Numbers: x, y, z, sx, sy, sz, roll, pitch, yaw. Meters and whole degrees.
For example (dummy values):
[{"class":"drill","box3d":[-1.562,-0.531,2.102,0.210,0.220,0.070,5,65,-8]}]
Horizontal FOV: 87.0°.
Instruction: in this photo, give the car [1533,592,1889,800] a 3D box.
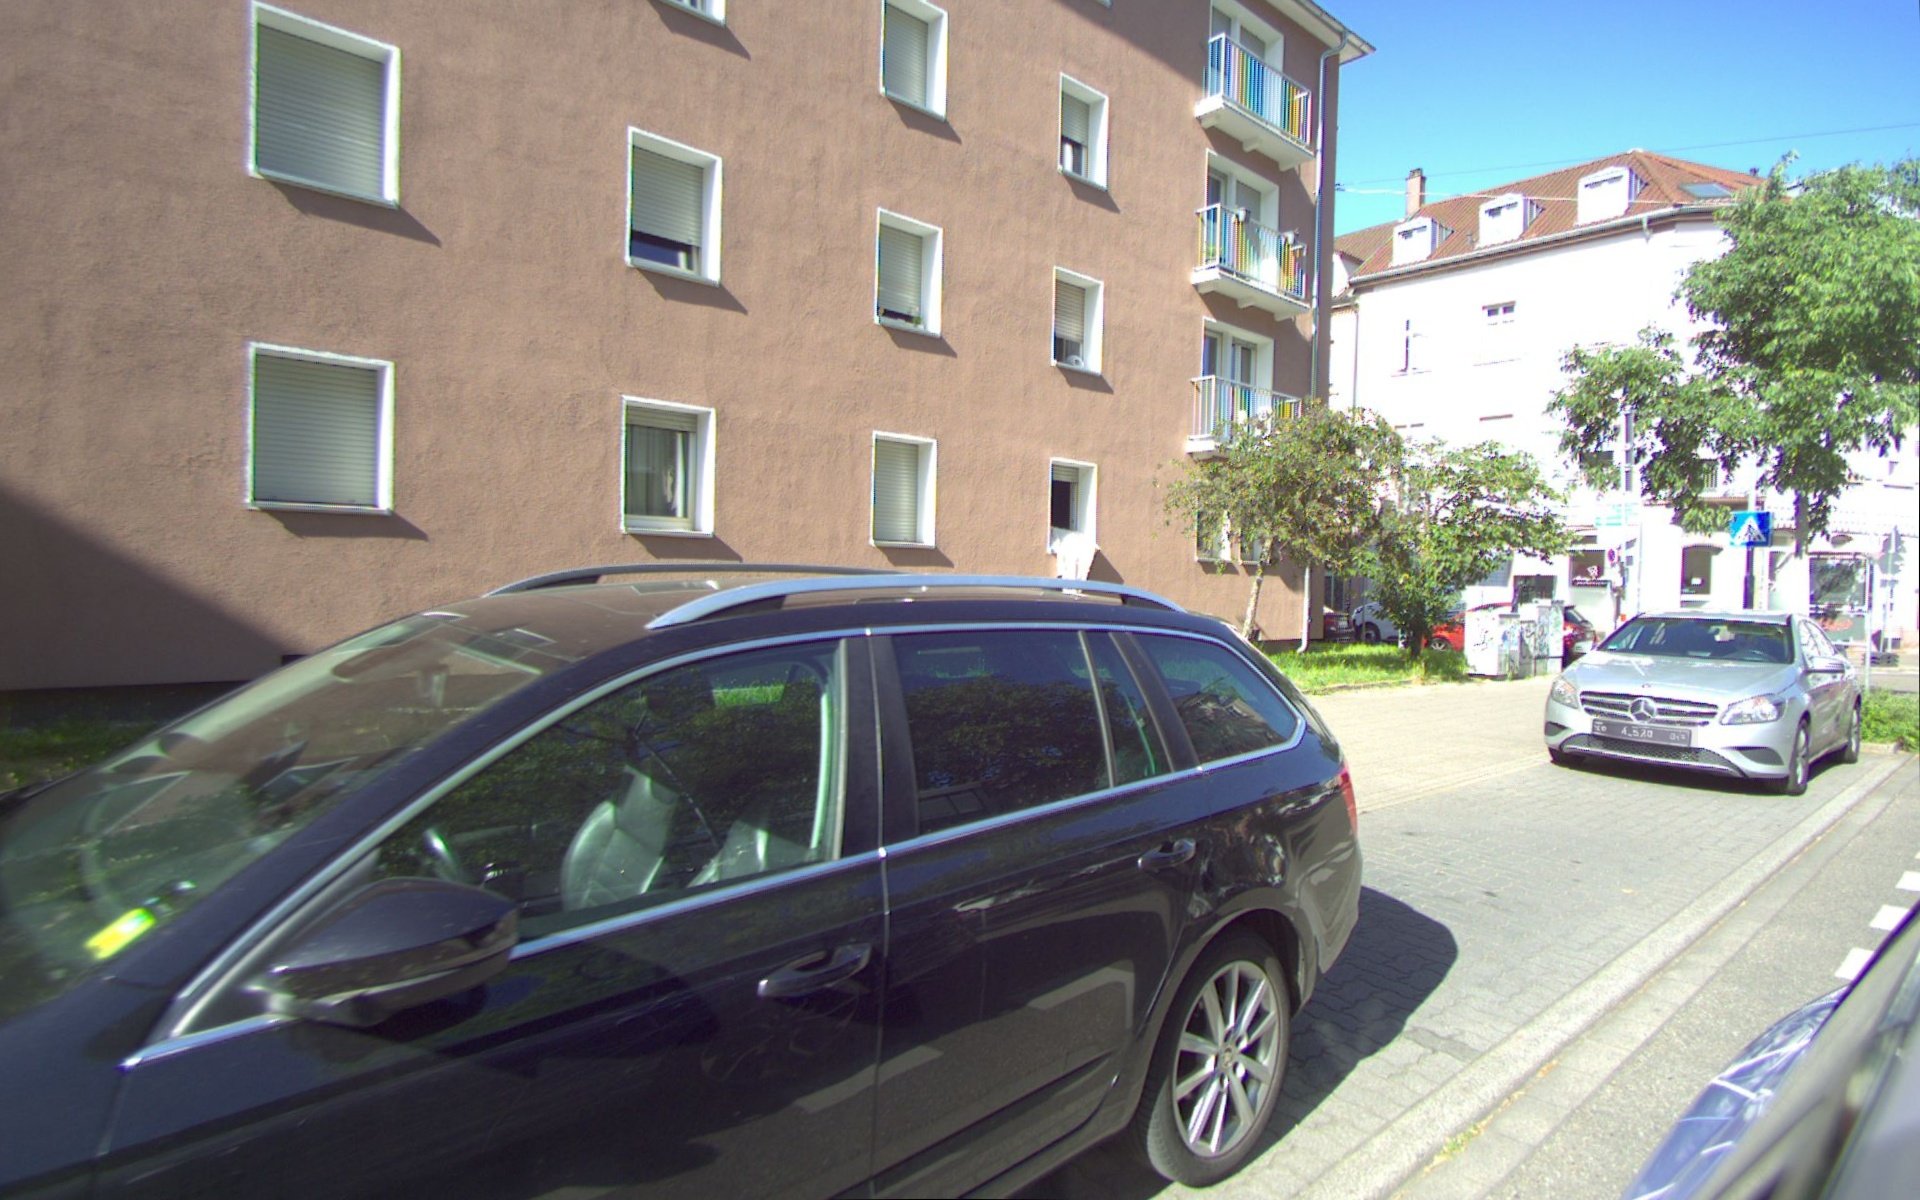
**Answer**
[{"class":"car","box3d":[6.889,0.679,9.138,3.929,1.446,1.735,0,1,-41]}]

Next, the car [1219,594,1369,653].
[{"class":"car","box3d":[9.107,0.599,27.786,1.540,1.420,3.646,0,1,-40]}]

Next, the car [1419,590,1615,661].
[{"class":"car","box3d":[12.798,0.532,23.404,1.540,1.420,3.646,0,1,-40]}]

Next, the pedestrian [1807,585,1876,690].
[{"class":"pedestrian","box3d":[14.558,0.594,16.717,0.794,1.660,0.726,0,1,-41]}]

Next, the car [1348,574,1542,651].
[{"class":"car","box3d":[14.134,0.296,29.667,1.968,2.039,4.745,0,1,-45]}]

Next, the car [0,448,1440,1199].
[{"class":"car","box3d":[-0.714,0.582,2.269,4.236,1.501,1.661,0,1,-41]}]
